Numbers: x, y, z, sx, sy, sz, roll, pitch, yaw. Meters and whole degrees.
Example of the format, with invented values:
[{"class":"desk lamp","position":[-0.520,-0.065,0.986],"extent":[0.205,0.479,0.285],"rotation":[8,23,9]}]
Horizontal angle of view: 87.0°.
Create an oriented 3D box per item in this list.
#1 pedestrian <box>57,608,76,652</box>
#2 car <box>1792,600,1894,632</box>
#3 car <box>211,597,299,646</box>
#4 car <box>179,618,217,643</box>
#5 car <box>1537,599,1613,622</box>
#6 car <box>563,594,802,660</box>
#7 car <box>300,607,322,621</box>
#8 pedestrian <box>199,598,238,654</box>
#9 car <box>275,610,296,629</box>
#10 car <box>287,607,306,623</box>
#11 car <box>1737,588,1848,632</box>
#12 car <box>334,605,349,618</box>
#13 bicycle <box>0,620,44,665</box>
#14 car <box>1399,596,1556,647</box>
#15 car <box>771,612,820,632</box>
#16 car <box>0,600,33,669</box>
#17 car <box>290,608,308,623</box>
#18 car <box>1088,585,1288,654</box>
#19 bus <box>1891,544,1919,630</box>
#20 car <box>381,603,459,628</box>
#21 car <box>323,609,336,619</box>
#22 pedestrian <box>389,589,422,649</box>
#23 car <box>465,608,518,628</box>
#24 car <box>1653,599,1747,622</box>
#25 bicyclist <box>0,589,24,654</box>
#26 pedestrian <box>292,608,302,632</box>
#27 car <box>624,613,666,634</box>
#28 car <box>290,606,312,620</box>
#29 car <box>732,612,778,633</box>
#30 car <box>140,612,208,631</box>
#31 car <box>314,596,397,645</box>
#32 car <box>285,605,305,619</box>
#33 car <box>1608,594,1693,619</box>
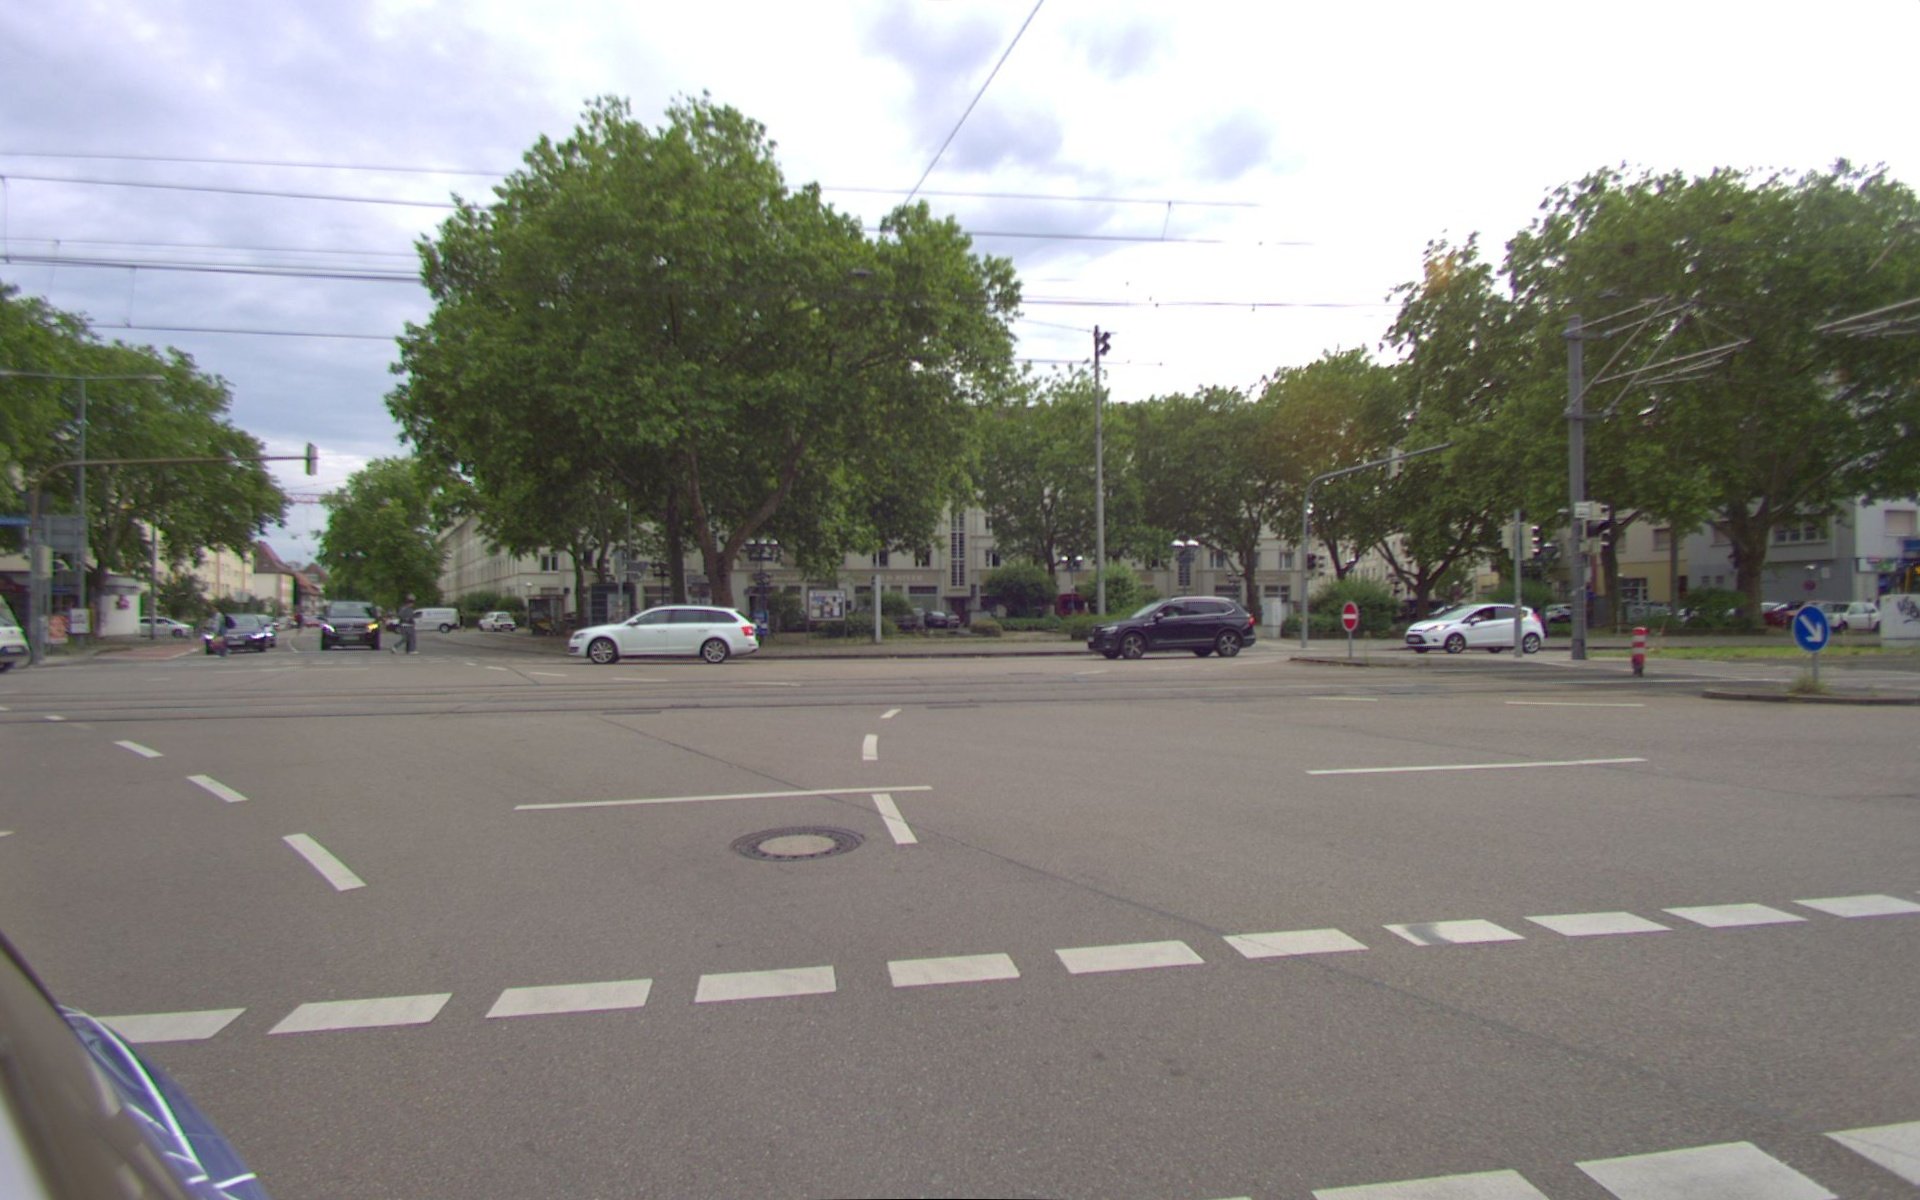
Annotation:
[{"class":"pedestrian","position":[-28.469,0.959,32.248],"extent":[0.410,1.375,0.392],"rotation":[-1,1,-38]},{"class":"car","position":[40.017,0.700,45.901],"extent":[3.349,1.369,1.712],"rotation":[0,1,-10]},{"class":"car","position":[-26.379,0.854,38.002],"extent":[1.635,1.732,3.750],"rotation":[0,-3,-17]},{"class":"car","position":[-53.817,2.140,71.522],"extent":[1.967,1.563,3.919],"rotation":[-1,1,-35]},{"class":"car","position":[38.139,0.637,62.833],"extent":[3.827,1.369,1.712],"rotation":[0,1,-10]},{"class":"car","position":[-6.872,0.679,25.545],"extent":[5.609,1.537,1.851],"rotation":[0,-2,-10]},{"class":"car","position":[-96.372,2.084,150.353],"extent":[1.965,2.029,4.013],"rotation":[-1,1,-20]},{"class":"pedestrian","position":[-22.804,0.792,31.133],"extent":[0.743,1.703,0.809],"rotation":[0,-1,-15]},{"class":"car","position":[-77.502,2.245,116.312],"extent":[1.967,2.029,4.011],"rotation":[-1,1,-34]},{"class":"car","position":[-91.176,2.009,139.175],"extent":[1.966,2.029,4.012],"rotation":[-1,1,-31]},{"class":"car","position":[39.834,0.465,48.456],"extent":[3.935,2.029,2.004],"rotation":[0,-1,-10]},{"class":"car","position":[-101.770,1.847,166.559],"extent":[1.966,2.029,4.013],"rotation":[-1,1,-29]},{"class":"bicycle","position":[-23.917,1.048,24.875],"extent":[1.960,1.072,0.731],"rotation":[0,-2,-10]},{"class":"car","position":[15.156,0.597,29.697],"extent":[3.827,1.408,1.712],"rotation":[0,1,-10]},{"class":"car","position":[-11.785,1.541,72.333],"extent":[2.047,1.400,4.848],"rotation":[0,-1,-27]},{"class":"car","position":[-22.796,0.761,21.429],"extent":[4.341,1.458,1.852],"rotation":[0,1,-10]},{"class":"car","position":[-94.466,2.236,144.629],"extent":[1.966,2.029,4.012],"rotation":[-1,1,-31]},{"class":"car","position":[6.221,0.496,27.744],"extent":[5.066,1.796,1.712],"rotation":[0,1,-10]},{"class":"bus","position":[38.315,-0.469,34.190],"extent":[12.179,2.878,3.300],"rotation":[0,1,-10]},{"class":"car","position":[-38.994,1.108,73.187],"extent":[4.748,1.676,2.006],"rotation":[0,-1,-21]},{"class":"car","position":[-126.975,2.808,203.883],"extent":[1.965,2.029,4.013],"rotation":[0,0,-28]},{"class":"pedestrian","position":[-18.033,0.607,32.921],"extent":[0.686,1.900,0.682],"rotation":[0,1,30]},{"class":"car","position":[-36.196,1.391,78.197],"extent":[3.984,1.497,1.784],"rotation":[-1,0,30]},{"class":"car","position":[39.198,0.551,53.642],"extent":[3.944,1.183,1.738],"rotation":[-1,0,-10]},{"class":"bicyclist","position":[-23.746,0.542,24.948],"extent":[0.744,1.574,0.586],"rotation":[0,-3,-10]},{"class":"pedestrian","position":[-48.969,1.499,74.729],"extent":[0.600,1.768,0.453],"rotation":[-1,1,-28]},{"class":"car","position":[-21.914,1.601,70.338],"extent":[1.965,1.400,4.848],"rotation":[0,-1,-27]},{"class":"car","position":[-102.521,1.980,157.377],"extent":[1.965,2.029,4.013],"rotation":[-1,1,-20]},{"class":"car","position":[-14.598,1.571,71.890],"extent":[1.965,1.400,4.848],"rotation":[0,-1,-27]},{"class":"car","position":[-61.628,1.665,79.458],"extent":[3.931,1.386,1.824],"rotation":[-1,1,-27]},{"class":"car","position":[-23.073,0.829,38.760],"extent":[1.880,1.732,3.750],"rotation":[0,-3,-17]},{"class":"car","position":[-87.381,1.572,132.979],"extent":[1.966,1.813,4.012],"rotation":[-1,1,-31]},{"class":"car","position":[38.644,0.345,56.653],"extent":[3.827,1.369,1.712],"rotation":[0,1,-10]}]
